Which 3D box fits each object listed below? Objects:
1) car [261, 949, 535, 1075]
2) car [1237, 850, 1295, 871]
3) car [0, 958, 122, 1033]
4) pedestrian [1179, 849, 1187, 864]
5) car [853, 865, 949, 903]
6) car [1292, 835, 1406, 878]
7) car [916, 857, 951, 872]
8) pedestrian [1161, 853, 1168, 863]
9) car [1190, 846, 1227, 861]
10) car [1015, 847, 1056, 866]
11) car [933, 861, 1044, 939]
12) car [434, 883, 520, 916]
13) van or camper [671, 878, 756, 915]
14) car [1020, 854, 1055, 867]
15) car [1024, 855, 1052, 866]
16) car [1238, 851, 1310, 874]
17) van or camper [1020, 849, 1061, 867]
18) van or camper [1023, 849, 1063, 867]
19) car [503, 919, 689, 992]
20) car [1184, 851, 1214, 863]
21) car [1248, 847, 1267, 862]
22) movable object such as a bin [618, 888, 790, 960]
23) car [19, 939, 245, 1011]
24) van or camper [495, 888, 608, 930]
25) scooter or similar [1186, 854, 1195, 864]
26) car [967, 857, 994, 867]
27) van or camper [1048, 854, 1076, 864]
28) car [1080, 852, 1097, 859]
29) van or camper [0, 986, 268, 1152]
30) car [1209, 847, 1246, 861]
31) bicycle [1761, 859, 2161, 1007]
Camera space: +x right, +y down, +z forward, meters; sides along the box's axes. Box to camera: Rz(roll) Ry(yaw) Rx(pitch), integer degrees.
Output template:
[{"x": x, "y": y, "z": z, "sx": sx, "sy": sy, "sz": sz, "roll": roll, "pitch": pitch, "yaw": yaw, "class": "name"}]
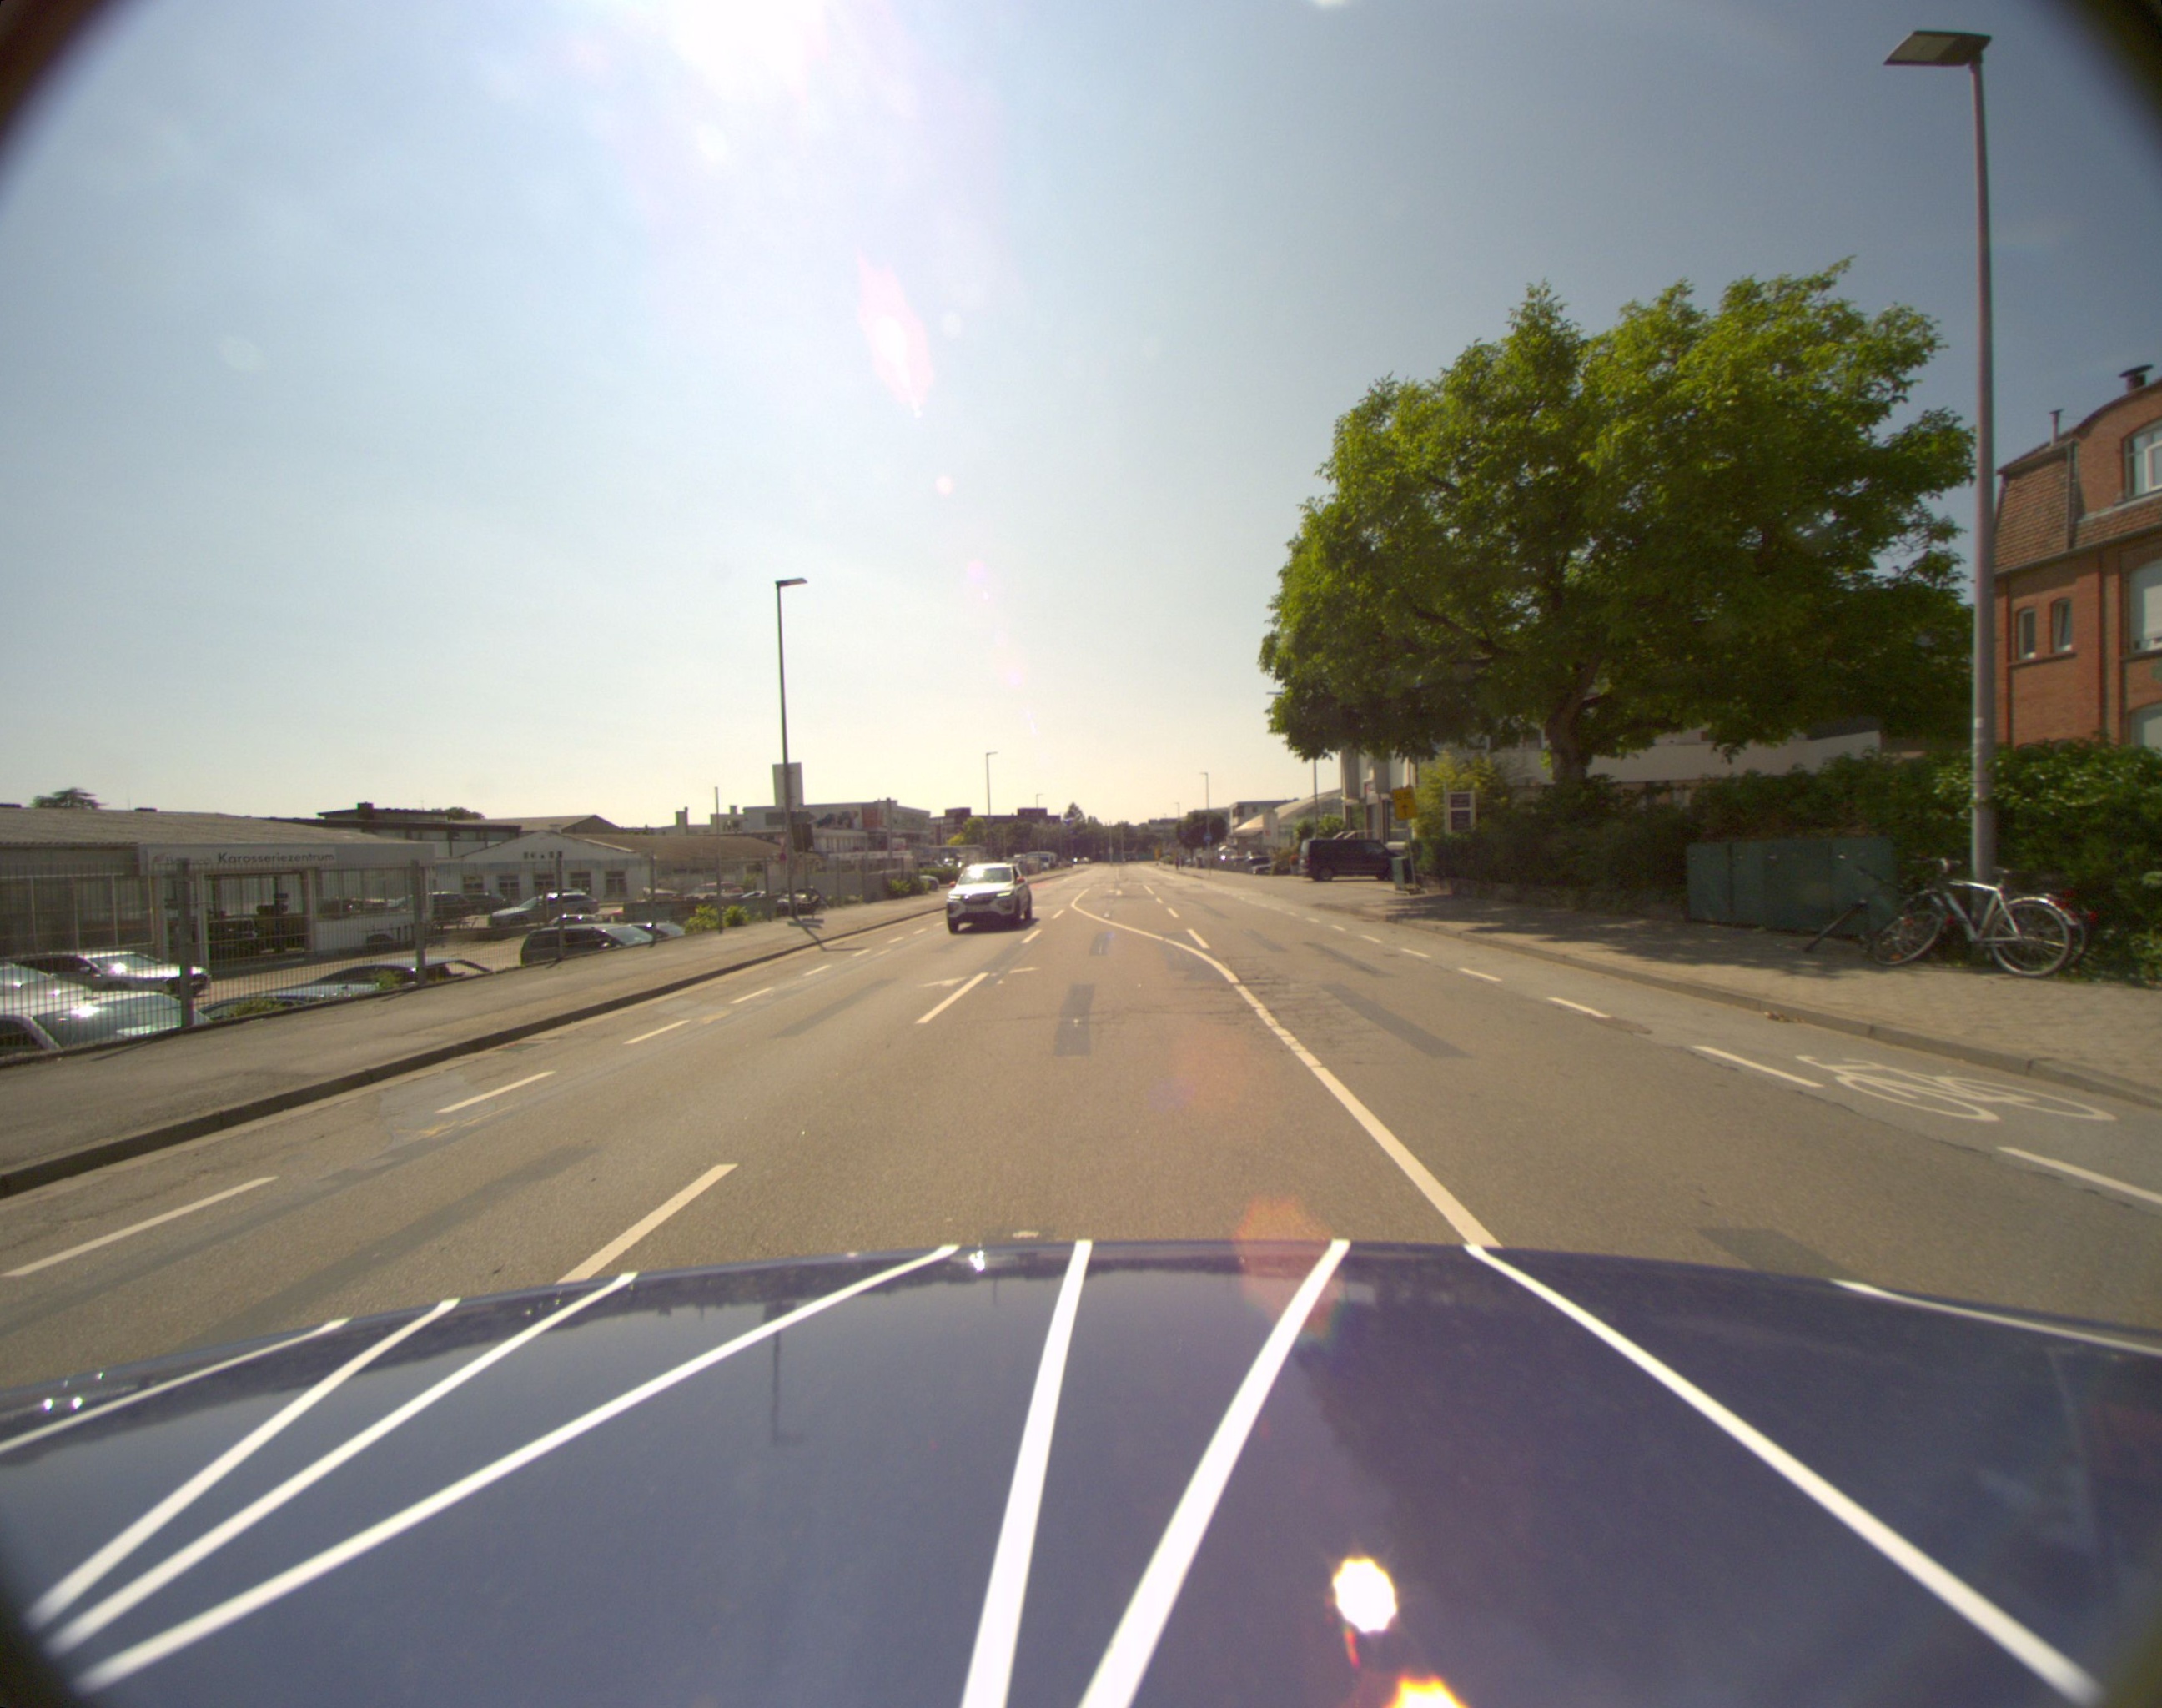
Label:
[{"x": -14.573, "y": 3.339, "z": 16.412, "sx": 3.996, "sy": 2.002, "sz": 2.000, "roll": -5, "pitch": 0, "yaw": 2, "class": "car"}, {"x": 15.381, "y": 0.533, "z": 63.277, "sx": 4.307, "sy": 1.549, "sz": 1.995, "roll": -2, "pitch": 0, "yaw": -1, "class": "car"}, {"x": -27.854, "y": 3.641, "z": 19.504, "sx": 3.997, "sy": 1.507, "sz": 1.846, "roll": -2, "pitch": 2, "yaw": 0, "class": "car"}, {"x": 12.602, "y": 0.361, "z": 93.835, "sx": 0.725, "sy": 1.837, "sz": 0.911, "roll": -2, "pitch": 0, "yaw": -2, "class": "pedestrian"}, {"x": -8.927, "y": 1.464, "z": 38.067, "sx": 1.953, "sy": 1.351, "sz": 4.504, "roll": -6, "pitch": 1, "yaw": 33, "class": "car"}, {"x": 12.311, "y": 0.118, "z": 35.193, "sx": 4.576, "sy": 1.854, "sz": 2.093, "roll": -1, "pitch": 0, "yaw": 4, "class": "car"}, {"x": -24.724, "y": 1.750, "z": 127.368, "sx": 5.311, "sy": 2.405, "sz": 2.325, "roll": -2, "pitch": 0, "yaw": -2, "class": "car"}, {"x": 14.296, "y": 0.658, "z": 129.573, "sx": 0.995, "sy": 1.676, "sz": 0.800, "roll": -2, "pitch": 0, "yaw": 14, "class": "pedestrian"}, {"x": 16.317, "y": -0.036, "z": 97.178, "sx": 4.587, "sy": 1.686, "sz": 1.855, "roll": -3, "pitch": 0, "yaw": -32, "class": "car"}, {"x": -7.257, "y": 0.354, "z": 121.784, "sx": 6.242, "sy": 2.852, "sz": 2.321, "roll": -2, "pitch": 0, "yaw": 4, "class": "car"}, {"x": -2.059, "y": 1.000, "z": 17.968, "sx": 1.726, "sy": 1.476, "sz": 3.678, "roll": -4, "pitch": 1, "yaw": 6, "class": "car"}, {"x": -40.126, "y": 3.006, "z": 50.522, "sx": 3.997, "sy": 1.783, "sz": 2.000, "roll": -4, "pitch": 0, "yaw": -1, "class": "car"}, {"x": -18.549, "y": 2.108, "z": 38.577, "sx": 1.998, "sy": 1.343, "sz": 4.229, "roll": -8, "pitch": 0, "yaw": 2, "class": "van or camper"}, {"x": -6.855, "y": 0.962, "z": 119.118, "sx": 5.246, "sy": 1.940, "sz": 2.000, "roll": -1, "pitch": 0, "yaw": 3, "class": "car"}, {"x": -6.574, "y": 0.973, "z": 116.237, "sx": 3.931, "sy": 1.584, "sz": 1.798, "roll": -2, "pitch": 0, "yaw": 3, "class": "car"}, {"x": 14.008, "y": 0.616, "z": 55.296, "sx": 4.750, "sy": 1.472, "sz": 2.048, "roll": -2, "pitch": 0, "yaw": 2, "class": "car"}, {"x": -6.626, "y": 0.677, "z": 124.851, "sx": 6.364, "sy": 2.684, "sz": 2.713, "roll": -2, "pitch": 0, "yaw": 3, "class": "van or camper"}, {"x": -6.428, "y": 0.684, "z": 127.749, "sx": 6.364, "sy": 2.700, "sz": 2.713, "roll": -2, "pitch": 0, "yaw": 3, "class": "van or camper"}, {"x": -13.902, "y": 2.900, "z": 21.969, "sx": 3.996, "sy": 1.641, "sz": 2.000, "roll": -3, "pitch": 1, "yaw": 1, "class": "car"}, {"x": 16.785, "y": 0.383, "z": 108.240, "sx": 4.168, "sy": 1.451, "sz": 1.903, "roll": -4, "pitch": 1, "yaw": -40, "class": "car"}, {"x": 20.847, "y": 0.031, "z": 89.878, "sx": 1.997, "sy": 1.674, "sz": 4.003, "roll": -3, "pitch": 0, "yaw": 11, "class": "car"}, {"x": -13.640, "y": 2.499, "z": 27.684, "sx": 5.127, "sy": 2.002, "sz": 2.000, "roll": -5, "pitch": 0, "yaw": 3, "class": "movable object such as a bin"}, {"x": -27.809, "y": 3.524, "z": 22.389, "sx": 3.997, "sy": 1.653, "sz": 1.999, "roll": -2, "pitch": 2, "yaw": 0, "class": "car"}, {"x": -26.843, "y": 2.746, "z": 38.692, "sx": 1.994, "sy": 1.535, "sz": 4.235, "roll": 3, "pitch": 4, "yaw": 30, "class": "van or camper"}, {"x": 13.734, "y": 0.667, "z": 95.080, "sx": 0.746, "sy": 1.240, "sz": 1.490, "roll": -3, "pitch": 0, "yaw": -5, "class": "scooter or similar"}, {"x": -17.620, "y": 1.364, "z": 133.253, "sx": 4.549, "sy": 1.668, "sz": 2.000, "roll": -2, "pitch": 0, "yaw": -1, "class": "car"}, {"x": -3.641, "y": 1.002, "z": 148.644, "sx": 5.143, "sy": 1.950, "sz": 1.982, "roll": -1, "pitch": 1, "yaw": -27, "class": "van or camper"}, {"x": 1.943, "y": 0.412, "z": 198.656, "sx": 3.991, "sy": 1.696, "sz": 2.003, "roll": -4, "pitch": 0, "yaw": 24, "class": "car"}, {"x": -14.444, "y": 2.913, "z": 10.387, "sx": 4.324, "sy": 1.641, "sz": 2.020, "roll": -3, "pitch": 1, "yaw": -1, "class": "van or camper"}, {"x": 17.439, "y": 0.013, "z": 90.653, "sx": 4.005, "sy": 1.541, "sz": 1.855, "roll": -3, "pitch": 0, "yaw": -28, "class": "car"}, {"x": 8.650, "y": 0.658, "z": 7.669, "sx": 1.029, "sy": 1.111, "sz": 2.766, "roll": -5, "pitch": 0, "yaw": 0, "class": "bicycle"}]
